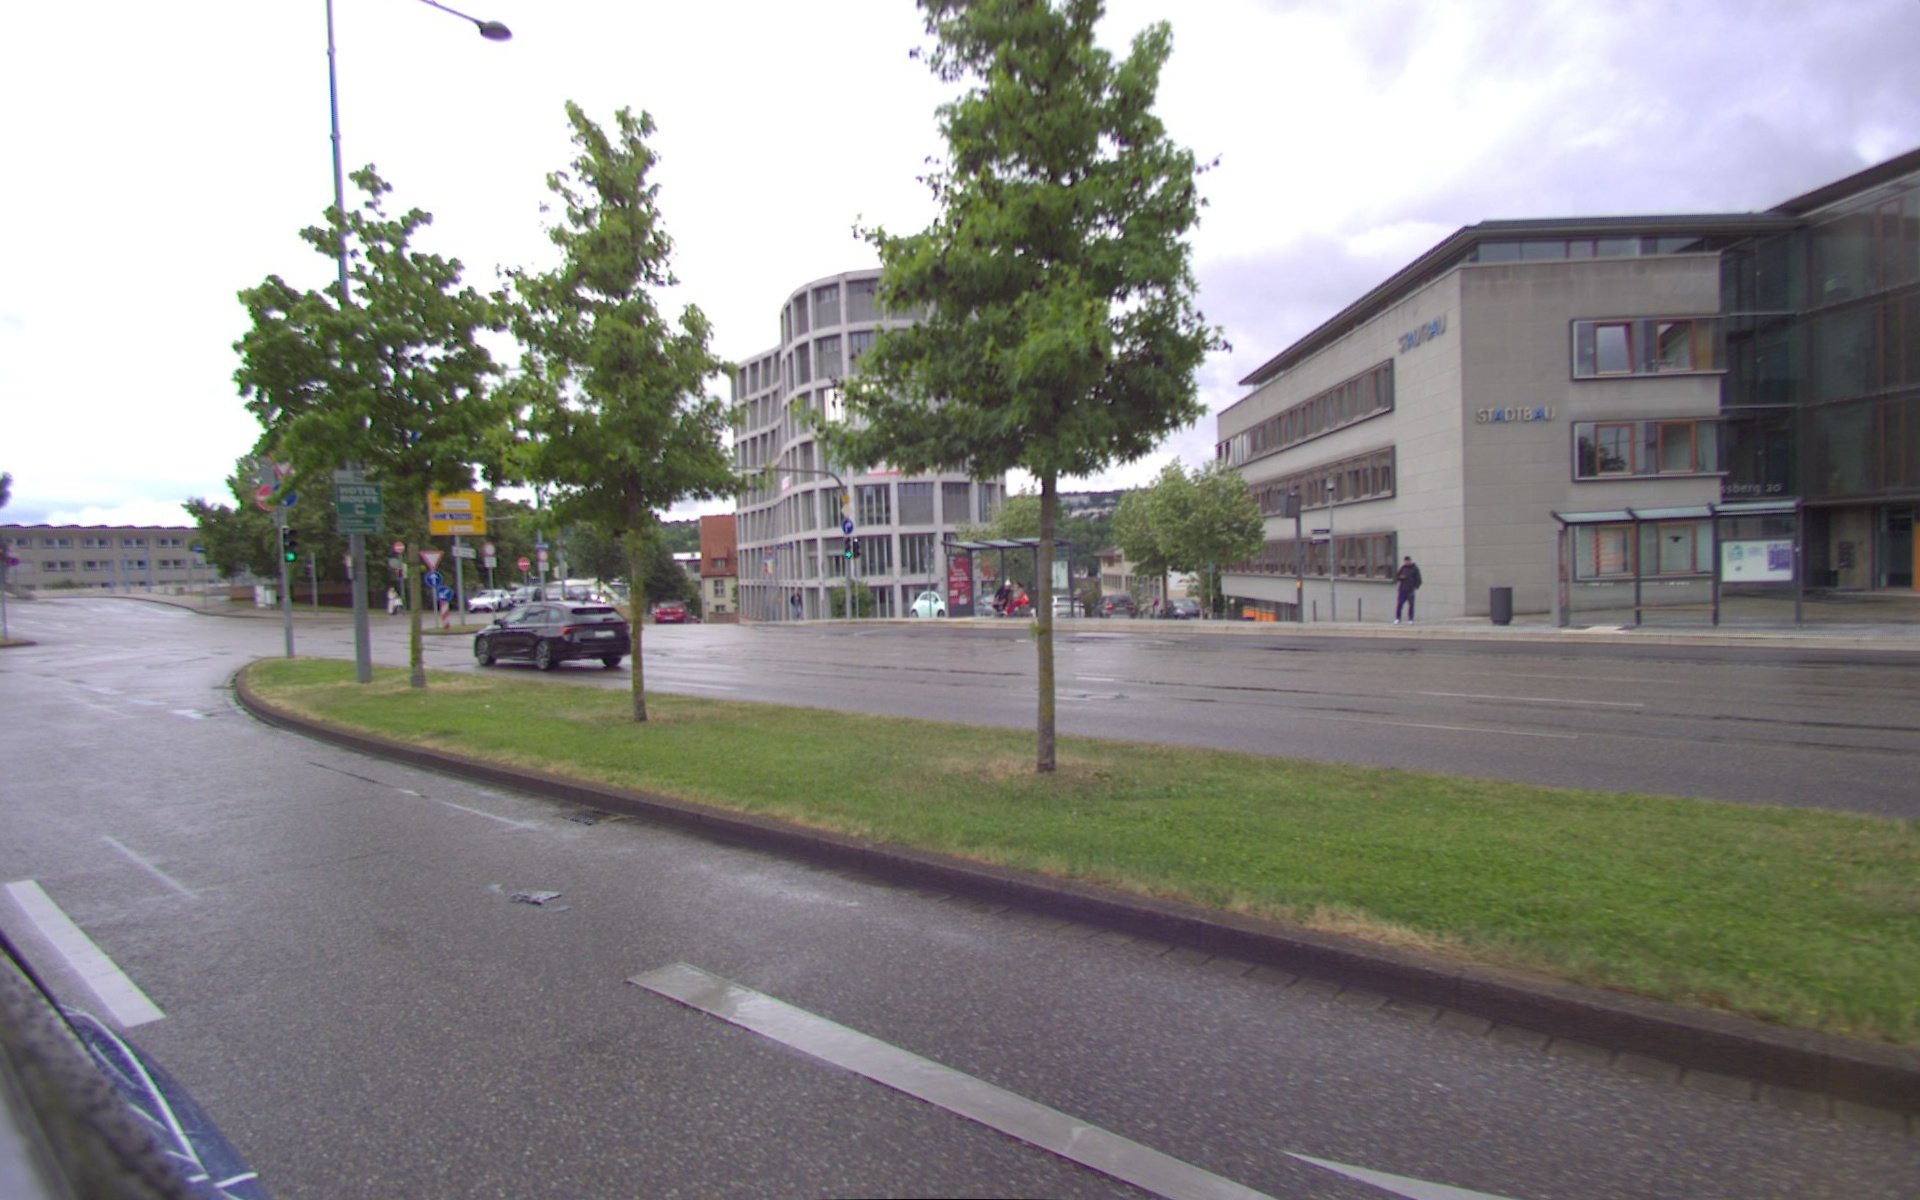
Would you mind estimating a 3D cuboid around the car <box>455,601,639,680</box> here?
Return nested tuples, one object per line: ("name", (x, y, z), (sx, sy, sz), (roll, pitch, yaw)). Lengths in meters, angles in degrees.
("car", (-9.171, 0.825, 22.319), (4.633, 1.539, 1.664), (0, 1, 38))

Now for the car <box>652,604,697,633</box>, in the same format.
("car", (-16.667, 1.043, 59.268), (1.801, 1.563, 4.037), (-1, 1, -4))

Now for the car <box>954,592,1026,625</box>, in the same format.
("car", (1.398, 0.398, 48.462), (1.606, 1.507, 3.591), (-1, 1, -35))

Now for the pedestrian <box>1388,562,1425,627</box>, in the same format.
("pedestrian", (11.751, -0.144, 26.631), (0.468, 1.696, 0.764), (-1, 0, -43))

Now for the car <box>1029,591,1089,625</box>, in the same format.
("car", (4.665, 0.353, 48.218), (1.737, 1.507, 3.797), (-1, 1, -12))

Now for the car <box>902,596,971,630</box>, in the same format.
("car", (-1.160, 0.585, 48.402), (1.606, 1.507, 3.591), (-1, 1, -35))

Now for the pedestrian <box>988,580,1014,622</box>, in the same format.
("pedestrian", (1.453, 0.029, 35.878), (0.625, 1.480, 0.672), (0, 1, 38))

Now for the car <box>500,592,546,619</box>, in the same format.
("car", (-27.883, 0.319, 64.640), (1.701, 1.579, 3.845), (-1, 1, -8))

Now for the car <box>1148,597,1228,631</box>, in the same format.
("car", (10.745, 0.642, 47.870), (1.605, 1.507, 3.593), (-1, 1, -32))

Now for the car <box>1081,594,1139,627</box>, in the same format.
("car", (7.184, 0.465, 48.865), (1.606, 1.507, 3.591), (-1, 1, -12))

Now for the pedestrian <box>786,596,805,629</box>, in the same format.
("pedestrian", (-8.249, 0.615, 50.747), (0.704, 1.595, 0.665), (0, 2, 38))

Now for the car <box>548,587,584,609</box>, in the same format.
("car", (-29.519, -0.177, 75.914), (1.701, 1.579, 3.845), (-1, 1, -8))

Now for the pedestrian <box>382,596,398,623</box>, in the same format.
("pedestrian", (-33.679, 0.542, 59.788), (0.643, 1.582, 0.632), (0, 2, -43))

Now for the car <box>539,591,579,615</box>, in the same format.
("car", (-28.171, 0.171, 71.250), (1.701, 1.579, 3.845), (-1, 1, -8))

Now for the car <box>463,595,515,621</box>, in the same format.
("car", (-30.698, 0.488, 66.073), (1.858, 1.579, 4.147), (-1, 1, -6))

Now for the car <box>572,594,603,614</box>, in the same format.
("car", (-31.423, 0.307, 85.471), (1.701, 1.579, 3.845), (-1, 1, -8))

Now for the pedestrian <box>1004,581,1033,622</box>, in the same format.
("pedestrian", (2.044, 0.056, 35.394), (0.720, 1.402, 0.672), (0, 1, 38))
